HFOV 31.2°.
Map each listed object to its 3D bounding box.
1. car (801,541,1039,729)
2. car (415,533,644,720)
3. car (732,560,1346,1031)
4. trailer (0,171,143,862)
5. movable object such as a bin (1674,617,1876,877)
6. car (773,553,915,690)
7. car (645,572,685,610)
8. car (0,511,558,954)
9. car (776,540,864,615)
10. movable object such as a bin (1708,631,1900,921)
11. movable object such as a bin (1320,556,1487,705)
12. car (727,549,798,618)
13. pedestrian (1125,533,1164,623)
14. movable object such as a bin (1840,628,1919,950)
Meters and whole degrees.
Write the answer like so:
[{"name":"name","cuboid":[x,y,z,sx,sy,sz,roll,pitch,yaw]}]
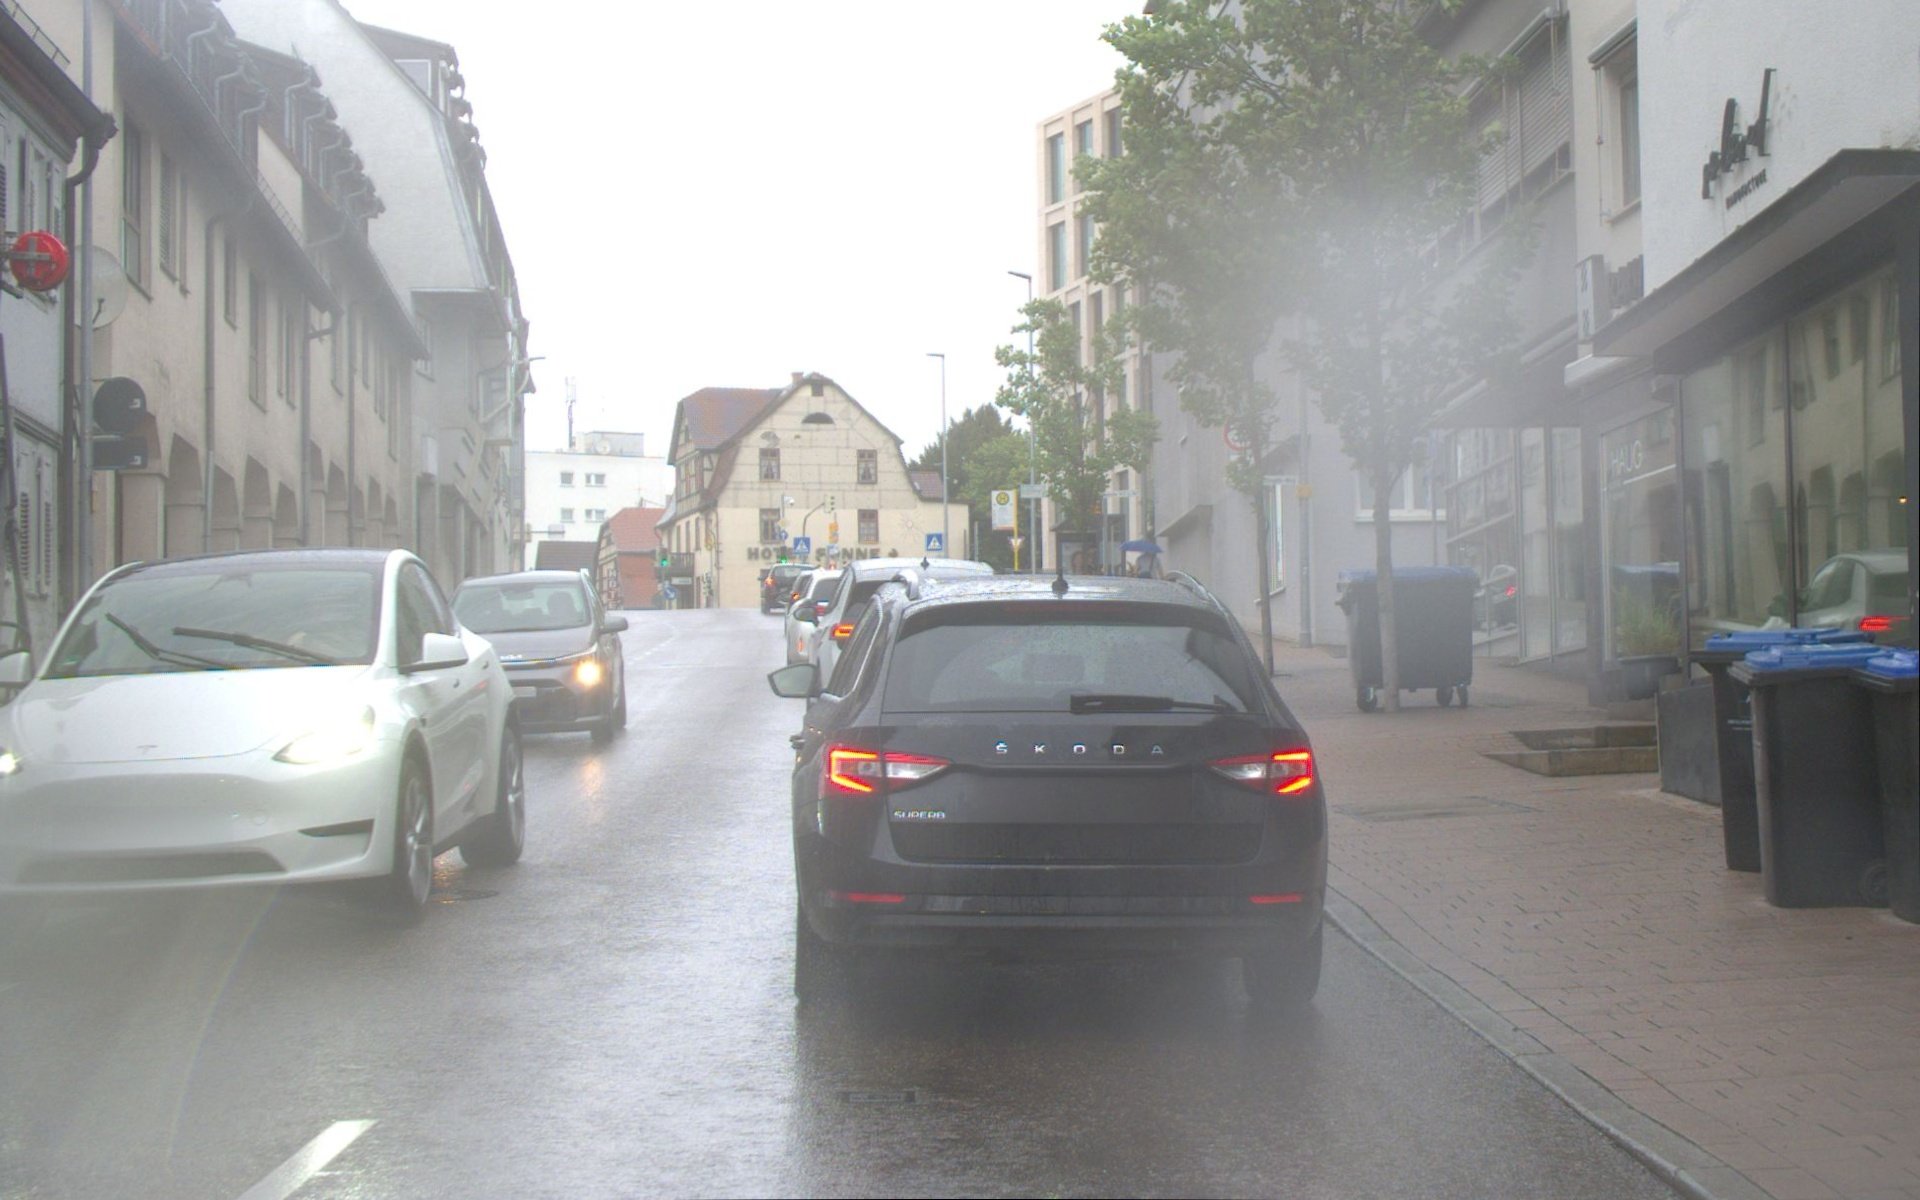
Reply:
[{"name":"car","cuboid":[-0.270,0.350,29.051,1.856,1.468,3.999,0,-2,1]},{"name":"car","cuboid":[-3.724,0.285,30.231,1.773,1.529,3.710,0,-2,-4]},{"name":"car","cuboid":[0.252,0.579,12.785,1.887,1.443,4.357,0,1,0]},{"name":"trailer","cuboid":[-5.909,-0.445,18.518,1.993,3.521,4.575,1,1,-1]},{"name":"movable object such as a bin","cuboid":[3.578,0.635,15.138,0.659,1.059,0.614,-5,0,1]},{"name":"car","cuboid":[-1.537,0.316,44.490,1.627,1.525,4.000,0,-4,-5]},{"name":"car","cuboid":[-12.336,-0.389,143.723,1.627,1.525,4.001,1,1,-5]},{"name":"car","cuboid":[-3.162,0.511,15.664,1.873,1.656,4.308,-3,0,3]},{"name":"car","cuboid":[-3.032,-0.502,73.805,1.703,1.546,3.607,1,1,-5]},{"name":"movable object such as a bin","cuboid":[3.466,0.711,14.158,0.567,1.104,0.676,-4,2,1]},{"name":"movable object such as a bin","cuboid":[4.128,0.304,32.141,1.286,1.345,1.487,0,-2,-3]},{"name":"car","cuboid":[-5.785,-0.494,101.141,1.993,2.007,4.000,0,1,-2]},{"name":"pedestrian","cuboid":[3.554,-0.425,66.319,0.705,1.719,0.832,1,1,1]},{"name":"movable object such as a bin","cuboid":[3.870,0.729,13.530,0.624,1.201,0.605,0,3,-3]}]
